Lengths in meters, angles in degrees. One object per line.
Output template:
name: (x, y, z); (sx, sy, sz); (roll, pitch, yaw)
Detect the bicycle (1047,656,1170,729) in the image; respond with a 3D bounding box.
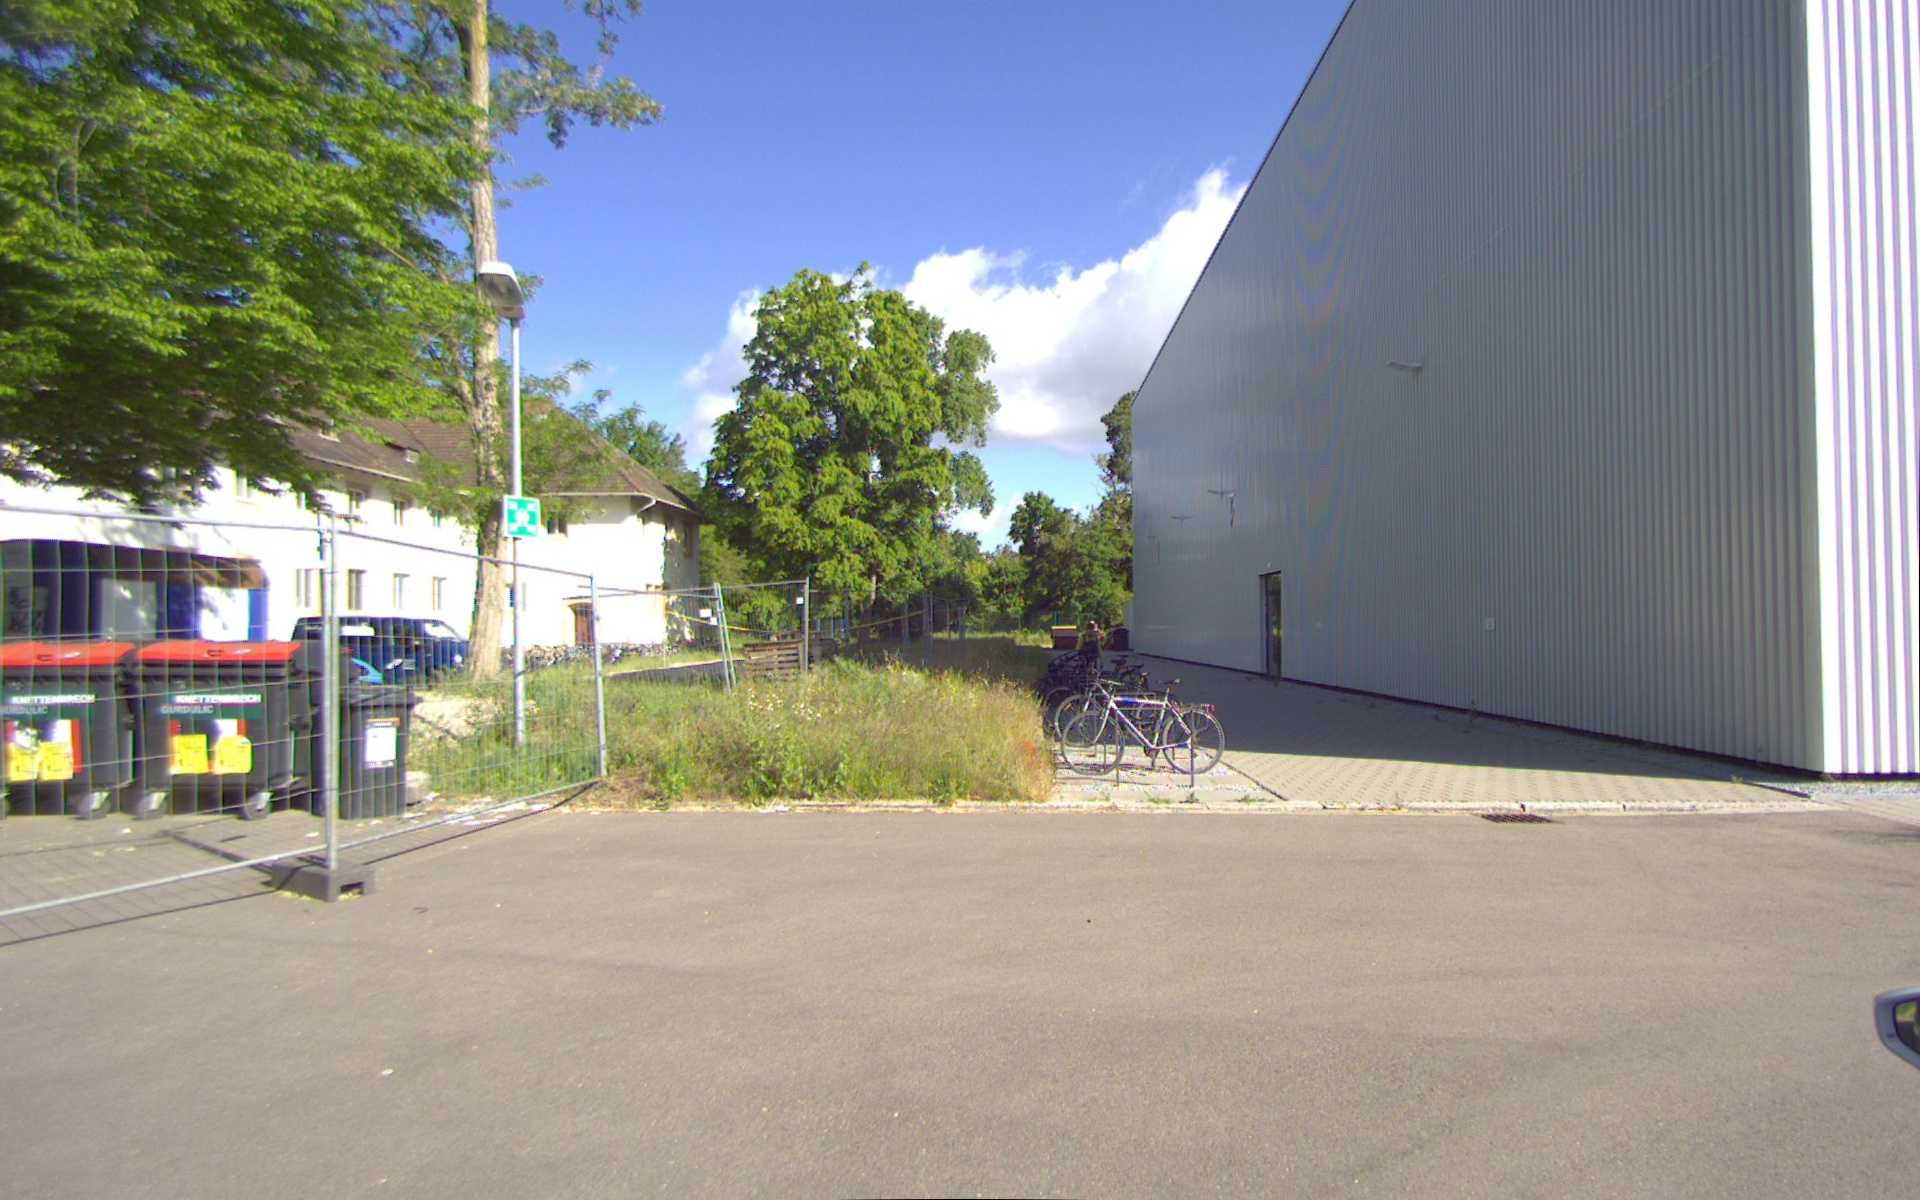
bicycle: (2.336, 1.458, 15.913); (1.856, 1.109, 0.526); (-1, -2, 1)

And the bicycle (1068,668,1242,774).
bicycle: (2.079, 1.287, 10.805); (1.770, 1.076, 0.459); (0, -1, -3)

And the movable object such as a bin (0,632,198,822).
movable object such as a bin: (-7.363, 1.022, 8.409); (1.316, 1.504, 0.806); (0, -1, -4)

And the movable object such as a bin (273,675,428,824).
movable object such as a bin: (-4.945, 1.189, 8.198); (0.723, 1.112, 0.820); (-1, -1, 6)

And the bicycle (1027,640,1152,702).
bicycle: (2.764, 1.509, 21.538); (2.585, 1.283, 1.141); (-1, -1, 7)

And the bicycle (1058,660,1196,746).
bicycle: (2.196, 1.365, 13.365); (1.761, 1.097, 0.525); (-1, -1, 4)

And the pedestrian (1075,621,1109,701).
pedestrian: (2.958, 1.350, 22.441); (0.504, 1.751, 0.633); (-1, -2, 36)

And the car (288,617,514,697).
car: (-14.158, 1.419, 25.661); (4.633, 1.927, 2.000); (0, -2, -2)

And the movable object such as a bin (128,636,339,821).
movable object such as a bin: (-6.028, 1.037, 8.390); (1.224, 1.463, 0.702); (0, -1, -3)

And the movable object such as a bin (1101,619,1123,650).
movable object such as a bin: (10.108, 2.322, 66.949); (1.394, 2.040, 1.126); (-1, -1, 7)

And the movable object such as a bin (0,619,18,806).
movable object such as a bin: (-9.411, 0.966, 8.202); (2.251, 1.612, 1.174); (0, -1, -3)
